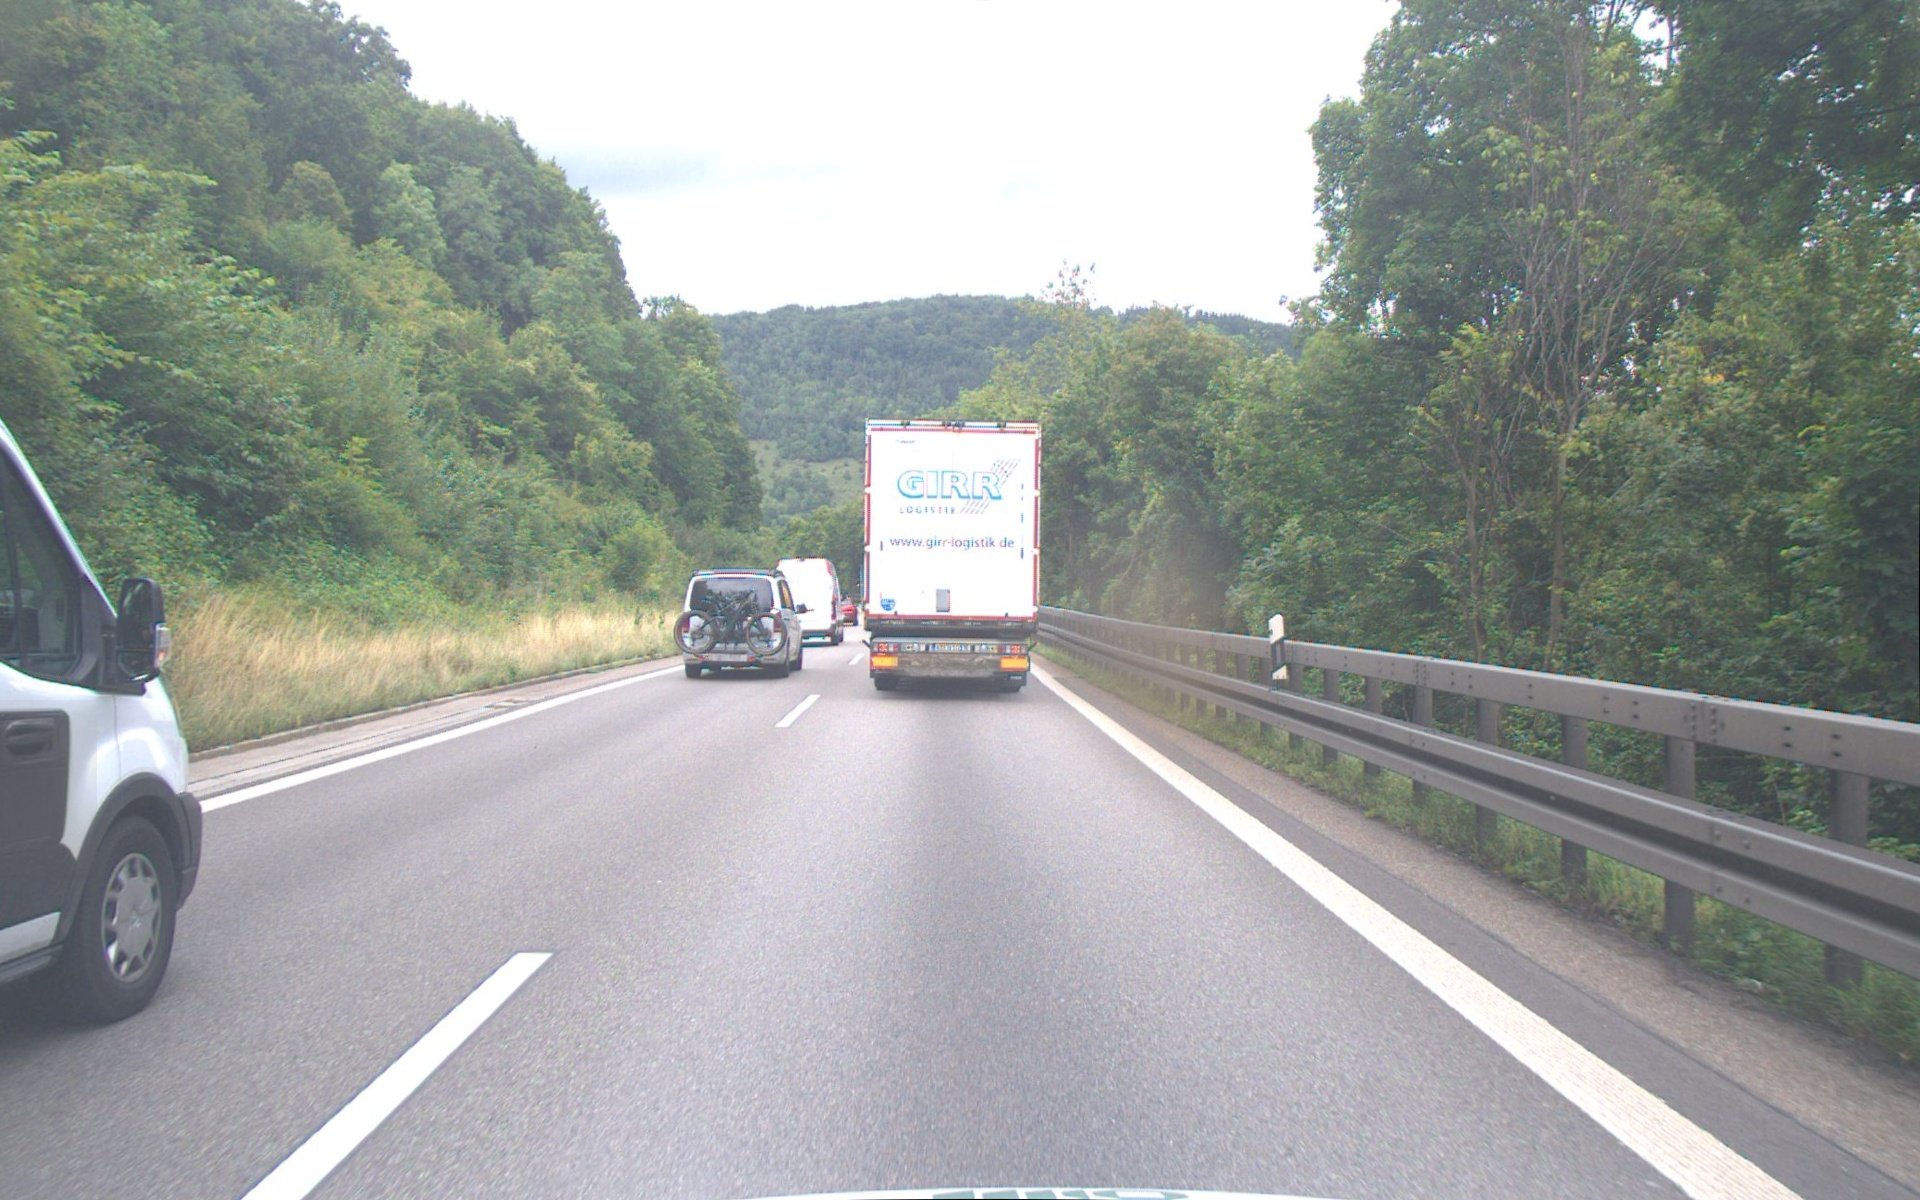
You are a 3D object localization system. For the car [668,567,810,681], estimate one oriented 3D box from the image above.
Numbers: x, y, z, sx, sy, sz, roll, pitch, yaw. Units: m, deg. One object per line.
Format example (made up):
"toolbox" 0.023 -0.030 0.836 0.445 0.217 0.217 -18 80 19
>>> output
"car" -4.034 0.409 31.106 1.977 1.948 5.562 0 0 -1

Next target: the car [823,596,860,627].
"car" -6.035 0.574 84.324 1.649 1.478 3.764 -1 0 -1

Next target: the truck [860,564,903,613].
"truck" -6.641 -0.935 138.439 3.010 3.945 8.445 0 -1 -7

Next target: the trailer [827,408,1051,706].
"trailer" -0.346 -0.605 27.855 3.069 4.113 9.437 1 0 -1

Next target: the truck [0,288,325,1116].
"truck" -3.803 0.282 3.783 2.302 2.314 6.846 0 -1 -2

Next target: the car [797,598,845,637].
"car" -5.654 0.702 67.632 1.649 1.540 3.764 0 -1 -1

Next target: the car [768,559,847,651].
"car" -4.663 0.136 51.378 2.081 2.644 5.561 -1 0 -2
